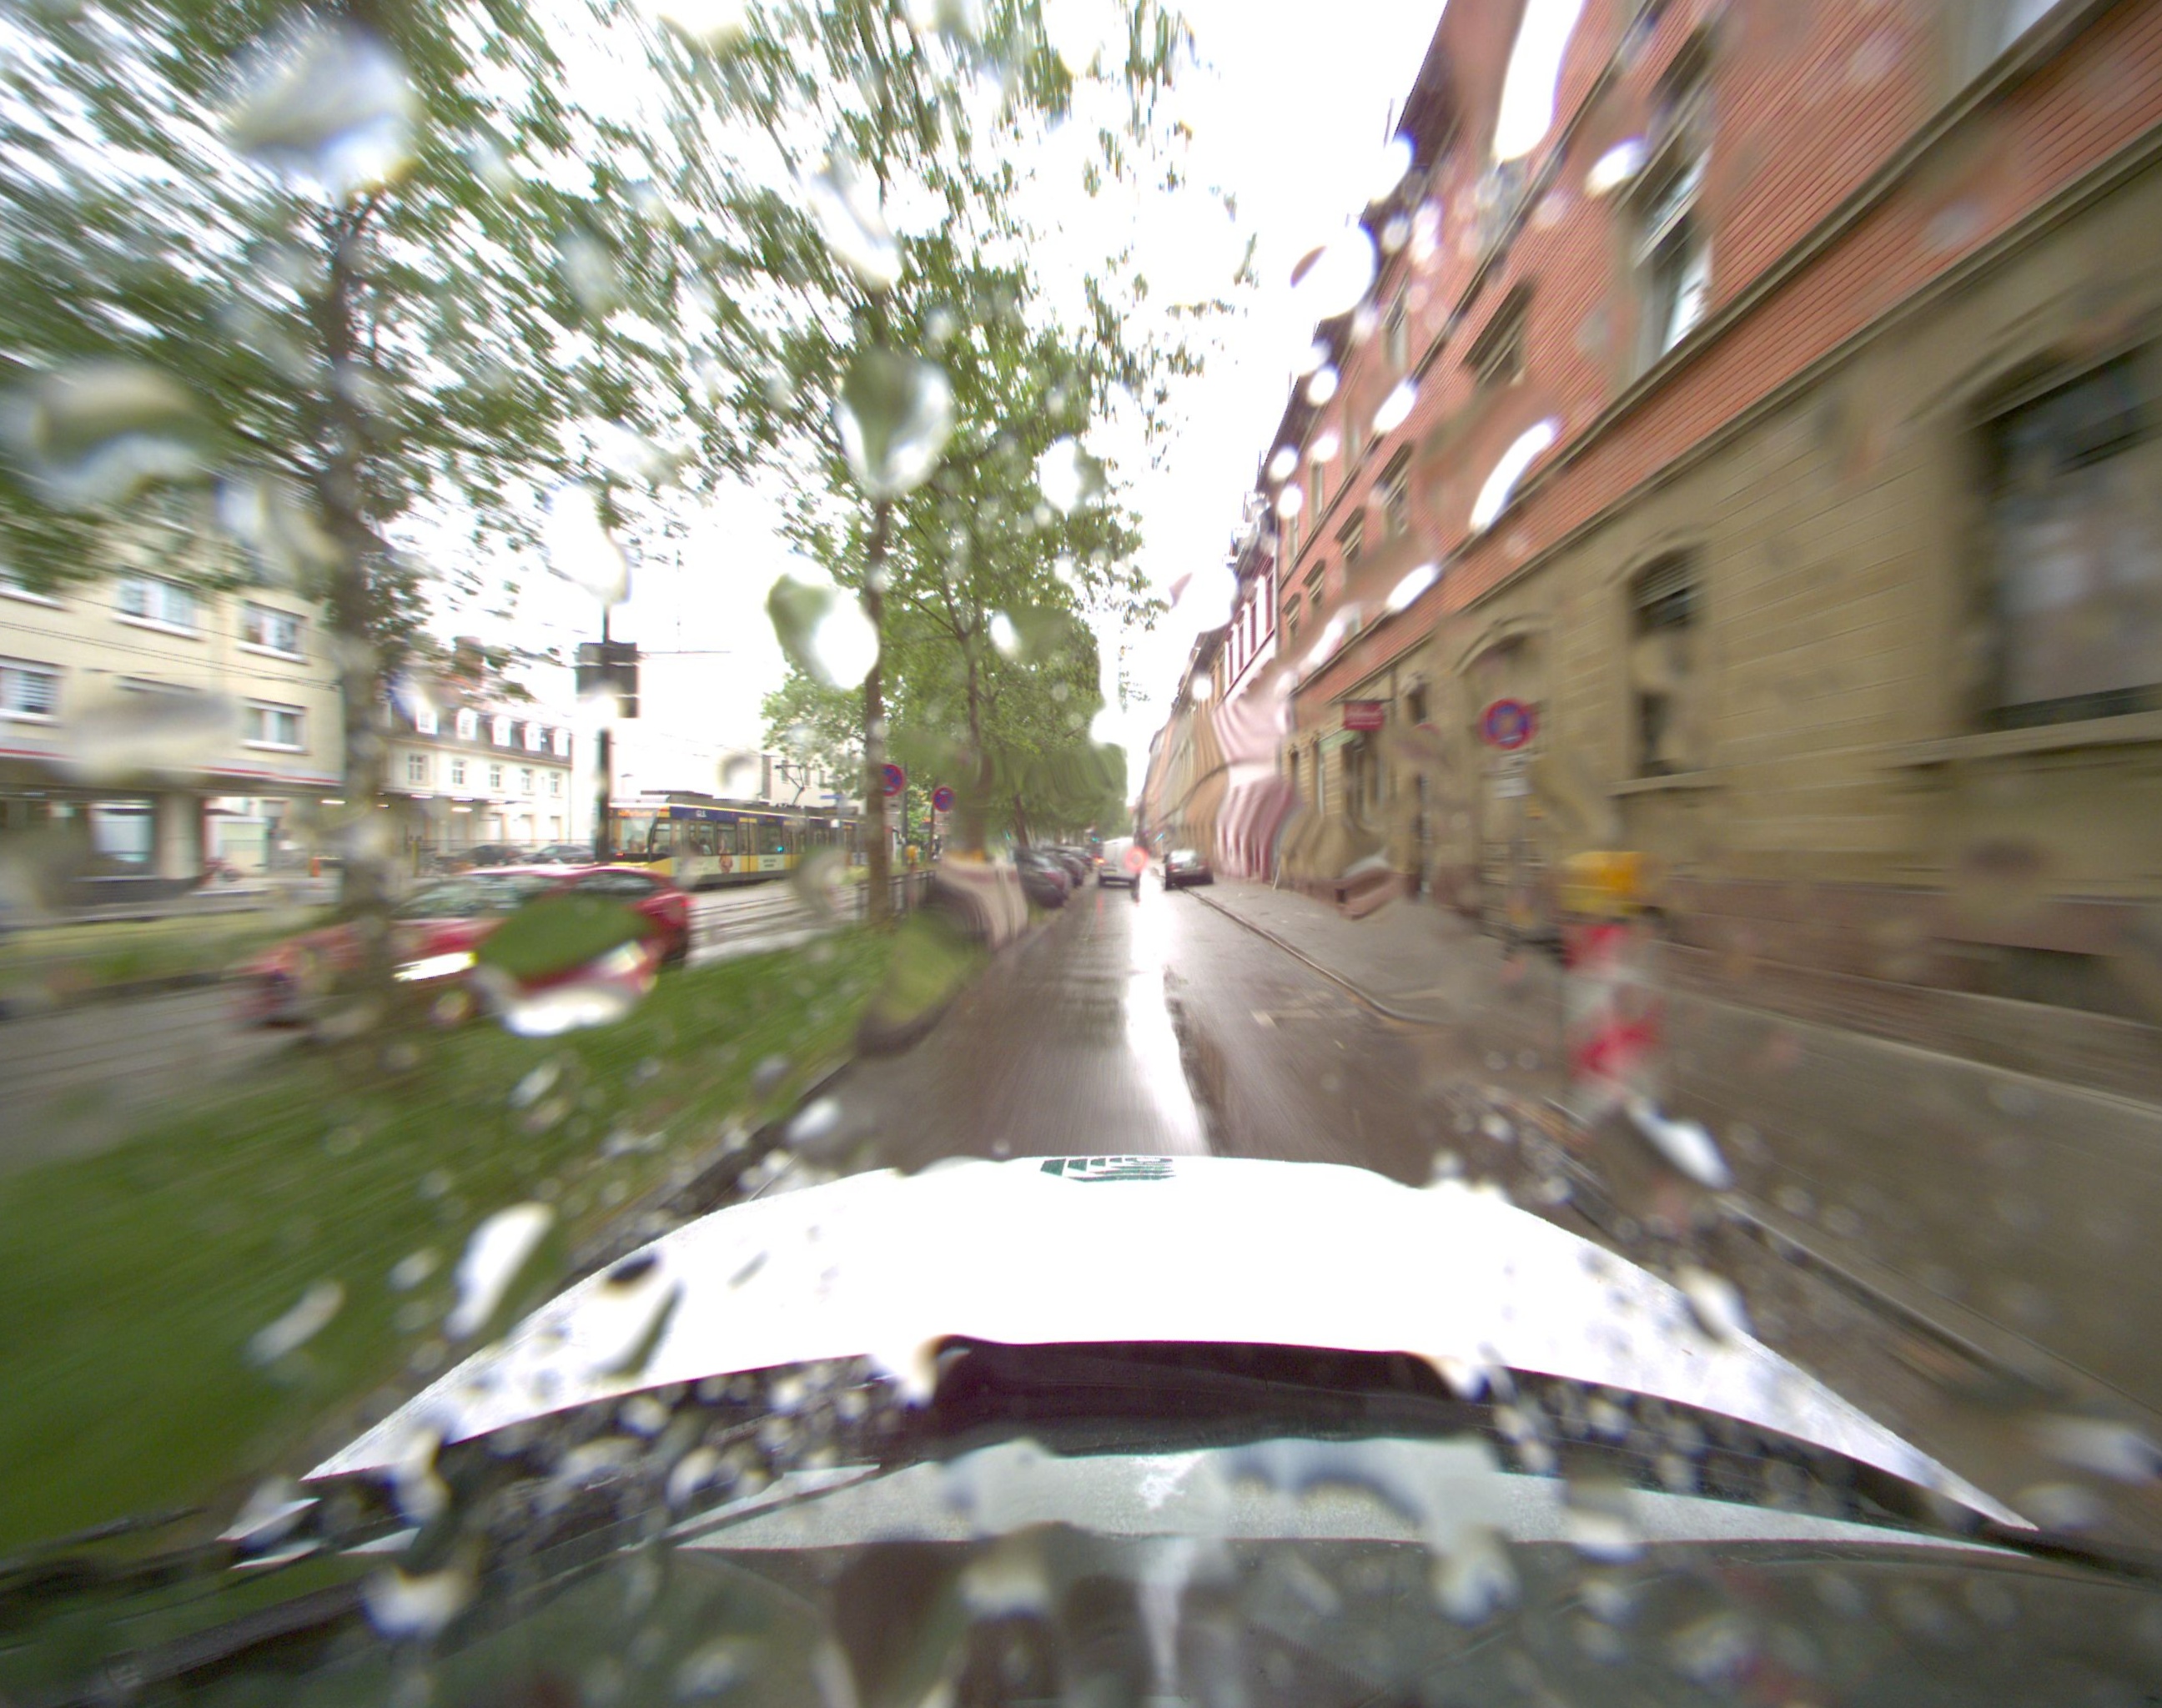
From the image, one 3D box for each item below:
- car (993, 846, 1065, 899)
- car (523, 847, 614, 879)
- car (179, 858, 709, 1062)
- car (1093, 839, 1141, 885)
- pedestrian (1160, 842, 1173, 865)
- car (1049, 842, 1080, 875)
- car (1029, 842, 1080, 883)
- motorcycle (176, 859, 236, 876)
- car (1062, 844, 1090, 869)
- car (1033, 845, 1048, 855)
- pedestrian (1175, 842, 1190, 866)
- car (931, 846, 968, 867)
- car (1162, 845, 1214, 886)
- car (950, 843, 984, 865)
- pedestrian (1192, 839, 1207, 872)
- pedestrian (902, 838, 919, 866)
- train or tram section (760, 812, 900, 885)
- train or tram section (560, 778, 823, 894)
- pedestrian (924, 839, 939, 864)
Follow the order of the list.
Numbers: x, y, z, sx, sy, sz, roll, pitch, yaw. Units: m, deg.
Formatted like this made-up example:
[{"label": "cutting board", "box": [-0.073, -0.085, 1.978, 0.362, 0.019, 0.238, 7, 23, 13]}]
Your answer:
[{"label": "car", "box": [-1.540, 0.526, 25.674, 1.822, 1.503, 4.615, 1, 0, 2]}, {"label": "car", "box": [-25.947, 0.430, 41.276, 3.657, 1.541, 1.613, 1, 1, 6]}, {"label": "car", "box": [-5.569, 0.776, 7.989, 1.734, 1.397, 4.236, 0, 1, 3]}, {"label": "car", "box": [1.523, 0.332, 33.919, 1.896, 1.797, 4.116, 0, -1, 3]}, {"label": "pedestrian", "box": [6.738, -0.040, 64.155, 0.836, 1.716, 1.108, -4, 0, 3]}, {"label": "car", "box": [-0.865, 0.212, 44.600, 1.619, 1.681, 3.659, 1, 1, 0]}, {"label": "car", "box": [-1.060, 0.339, 34.670, 1.691, 1.635, 4.359, 0, 0, 4]}, {"label": "motorcycle", "box": [-37.743, 0.576, 35.152, 0.514, 0.710, 1.685, -1, 0, 30]}, {"label": "car", "box": [-0.307, 0.142, 53.880, 1.642, 1.500, 4.121, 2, 0, 2]}, {"label": "car", "box": [-6.207, -0.660, 125.324, 1.991, 1.581, 3.991, 0, 1, -7]}, {"label": "pedestrian", "box": [6.621, -0.022, 53.006, 0.836, 1.511, 1.108, -3, 0, 3]}, {"label": "car", "box": [-8.794, 0.144, 54.685, 1.732, 1.343, 3.757, 3, 1, 2]}, {"label": "car", "box": [4.191, 0.410, 32.534, 1.805, 1.420, 4.704, -4, 0, 5]}, {"label": "car", "box": [-8.776, -0.041, 62.887, 1.986, 1.612, 4.002, 0, 1, 2]}, {"label": "pedestrian", "box": [6.274, 0.063, 43.060, 0.636, 1.684, 0.604, -3, 0, 1]}, {"label": "pedestrian", "box": [-10.333, -0.110, 49.463, 0.815, 1.703, 0.872, 0, 0, 1]}, {"label": "train or tram section", "box": [-13.892, -0.154, 47.066, 3.094, 3.558, 14.680, 0, -1, 2]}, {"label": "train or tram section", "box": [-14.355, -0.433, 32.476, 3.094, 3.558, 14.582, 0, -1, 2]}, {"label": "pedestrian", "box": [-10.143, -0.177, 55.363, 0.815, 1.703, 0.872, 0, 0, 1]}]
